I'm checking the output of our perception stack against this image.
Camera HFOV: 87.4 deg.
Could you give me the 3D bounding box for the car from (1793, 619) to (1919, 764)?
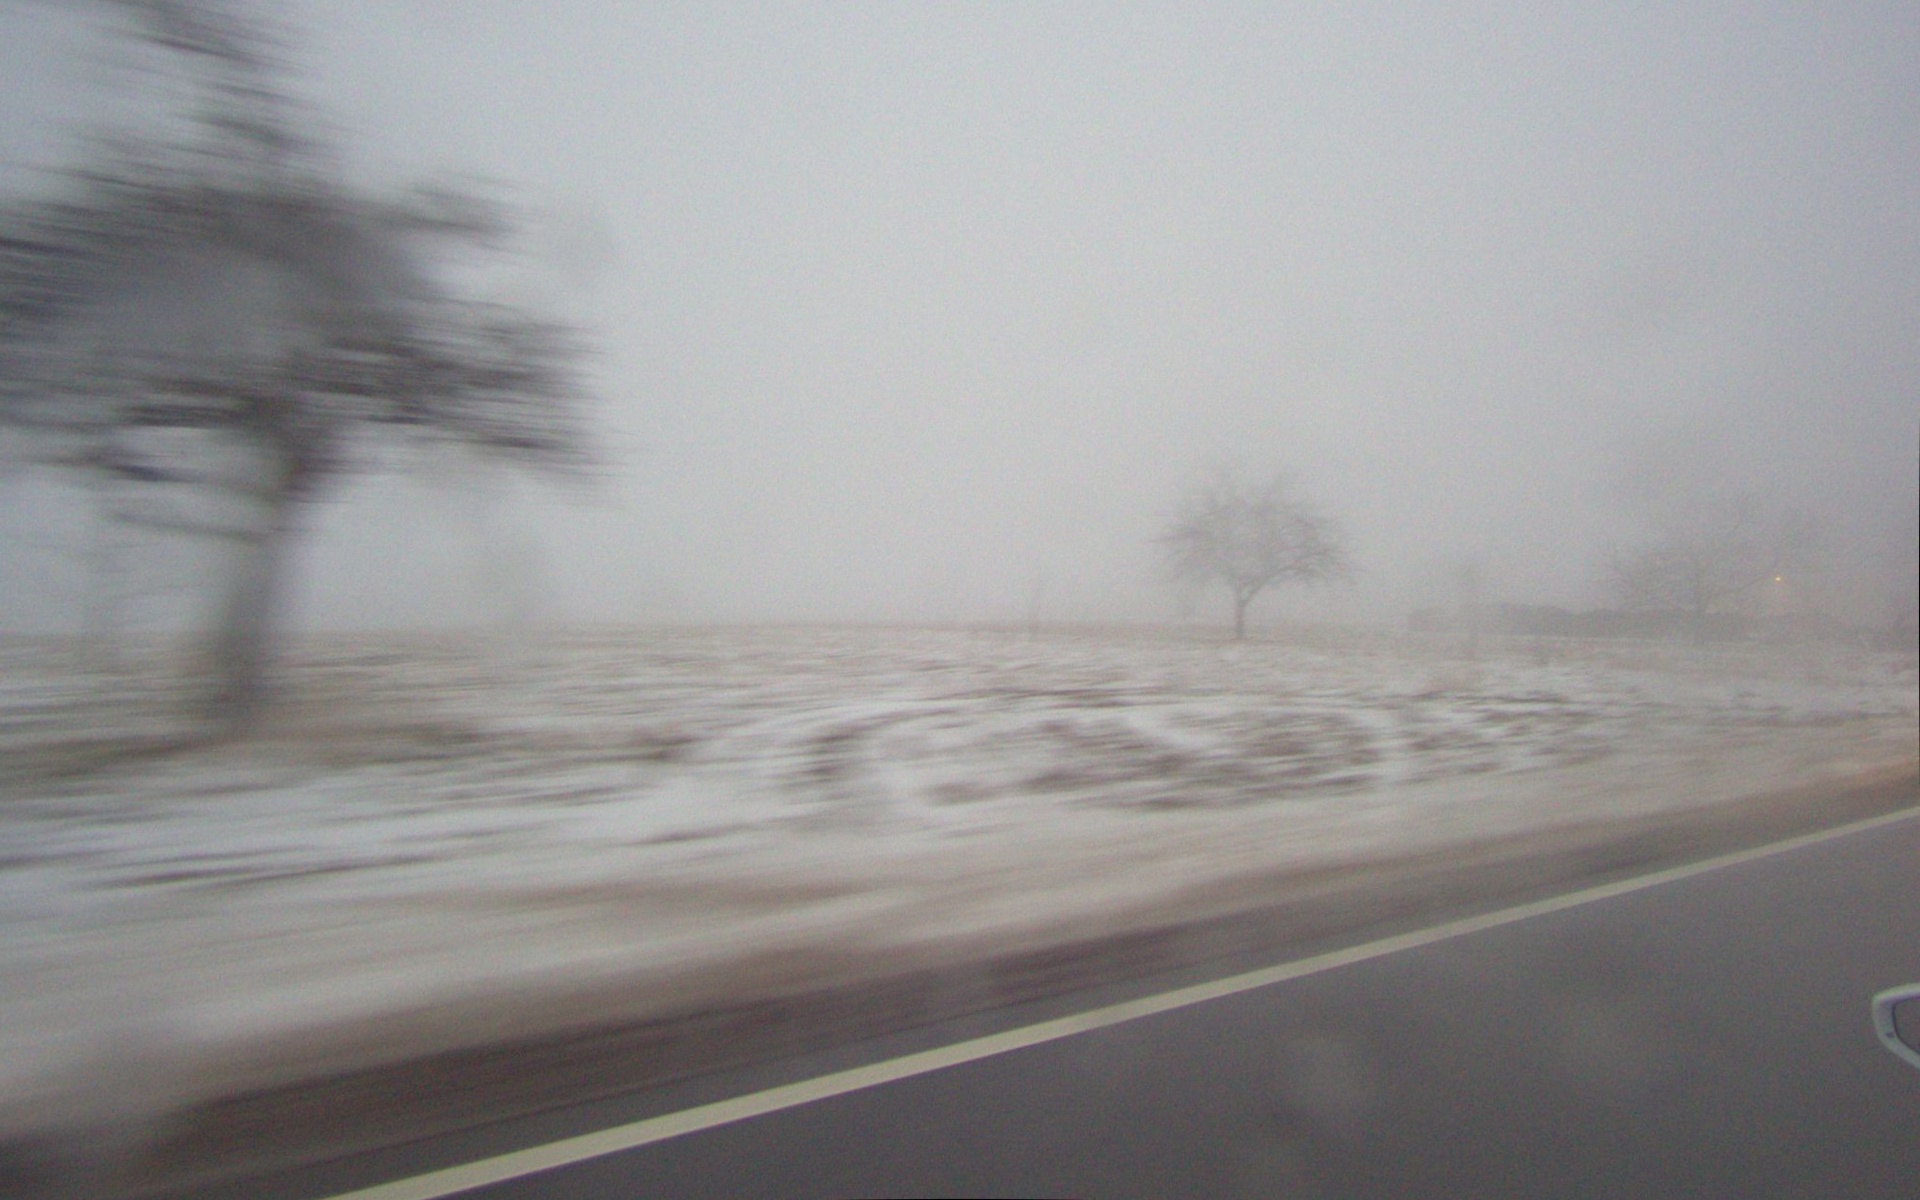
[{"bbox_3d":[11.325,1.028,11.701,3.016,1.528,1.516,2,-1,-29],"label":"car"}]
